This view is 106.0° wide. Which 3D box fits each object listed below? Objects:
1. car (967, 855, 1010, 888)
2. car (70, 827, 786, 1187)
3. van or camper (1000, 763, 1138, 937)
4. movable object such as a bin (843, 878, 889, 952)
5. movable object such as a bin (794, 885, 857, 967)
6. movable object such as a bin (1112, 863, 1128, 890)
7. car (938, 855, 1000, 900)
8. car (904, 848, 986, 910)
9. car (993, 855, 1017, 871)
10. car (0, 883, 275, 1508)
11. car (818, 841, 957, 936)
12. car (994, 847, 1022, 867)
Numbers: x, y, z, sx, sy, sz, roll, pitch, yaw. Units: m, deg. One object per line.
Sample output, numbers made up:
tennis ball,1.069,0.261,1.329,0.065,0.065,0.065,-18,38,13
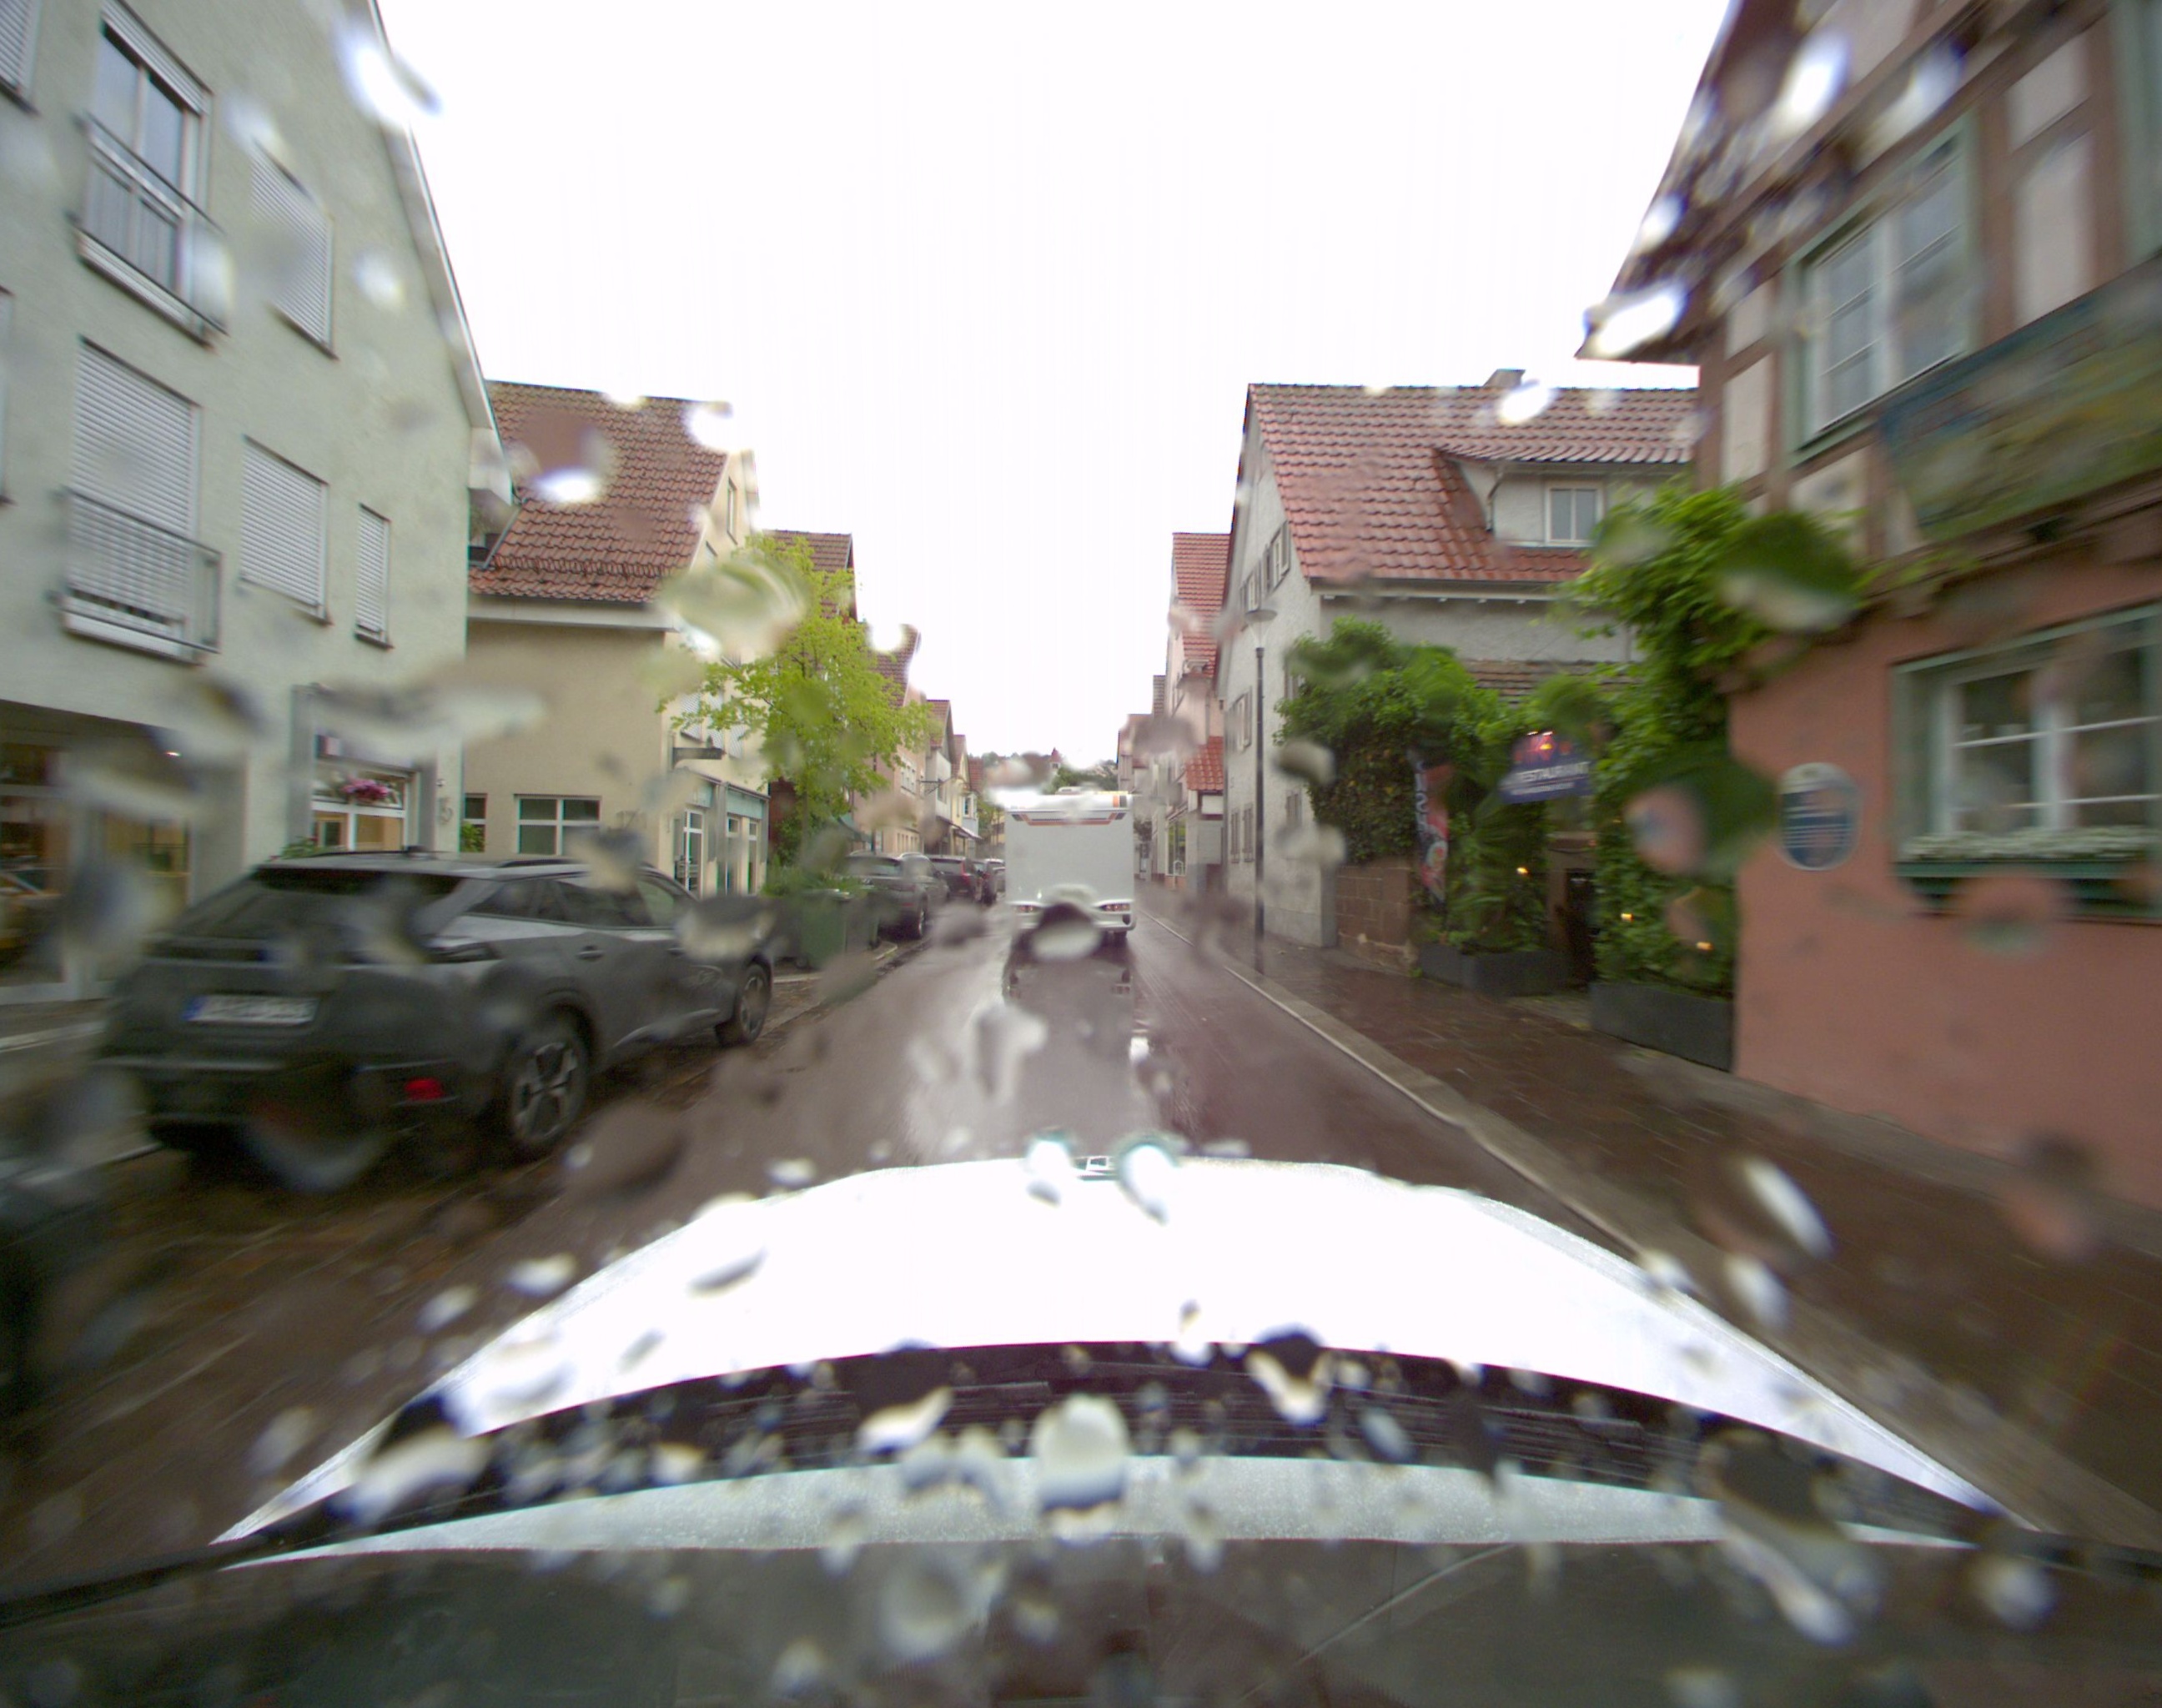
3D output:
car,-4.593,0.894,40.852,1.822,1.566,3.997,0,-1,-2
car,-3.536,0.705,5.517,1.587,1.546,3.976,0,-1,0
van or camper,-0.403,0.014,16.925,2.321,2.919,6.383,0,-1,-4
movable object such as a bin,-3.544,0.993,13.478,0.600,1.201,0.523,0,-2,1
movable object such as a bin,-3.513,0.974,11.236,0.619,1.079,0.725,0,-2,0
movable object such as a bin,1.745,1.019,36.372,0.716,1.201,0.573,0,-2,0
car,-4.076,0.858,30.153,1.829,1.552,4.277,0,-1,-2
car,-3.909,0.730,24.125,1.829,1.675,4.536,0,-1,-2
car,-9.269,1.123,99.431,2.000,2.014,3.973,1,-2,-20
car,-3.225,0.748,0.154,1.799,1.433,4.618,0,-1,-6
car,-3.857,0.684,17.077,1.766,1.675,4.478,2,-1,0
car,-5.629,0.212,62.649,1.991,1.472,3.990,1,0,-7
